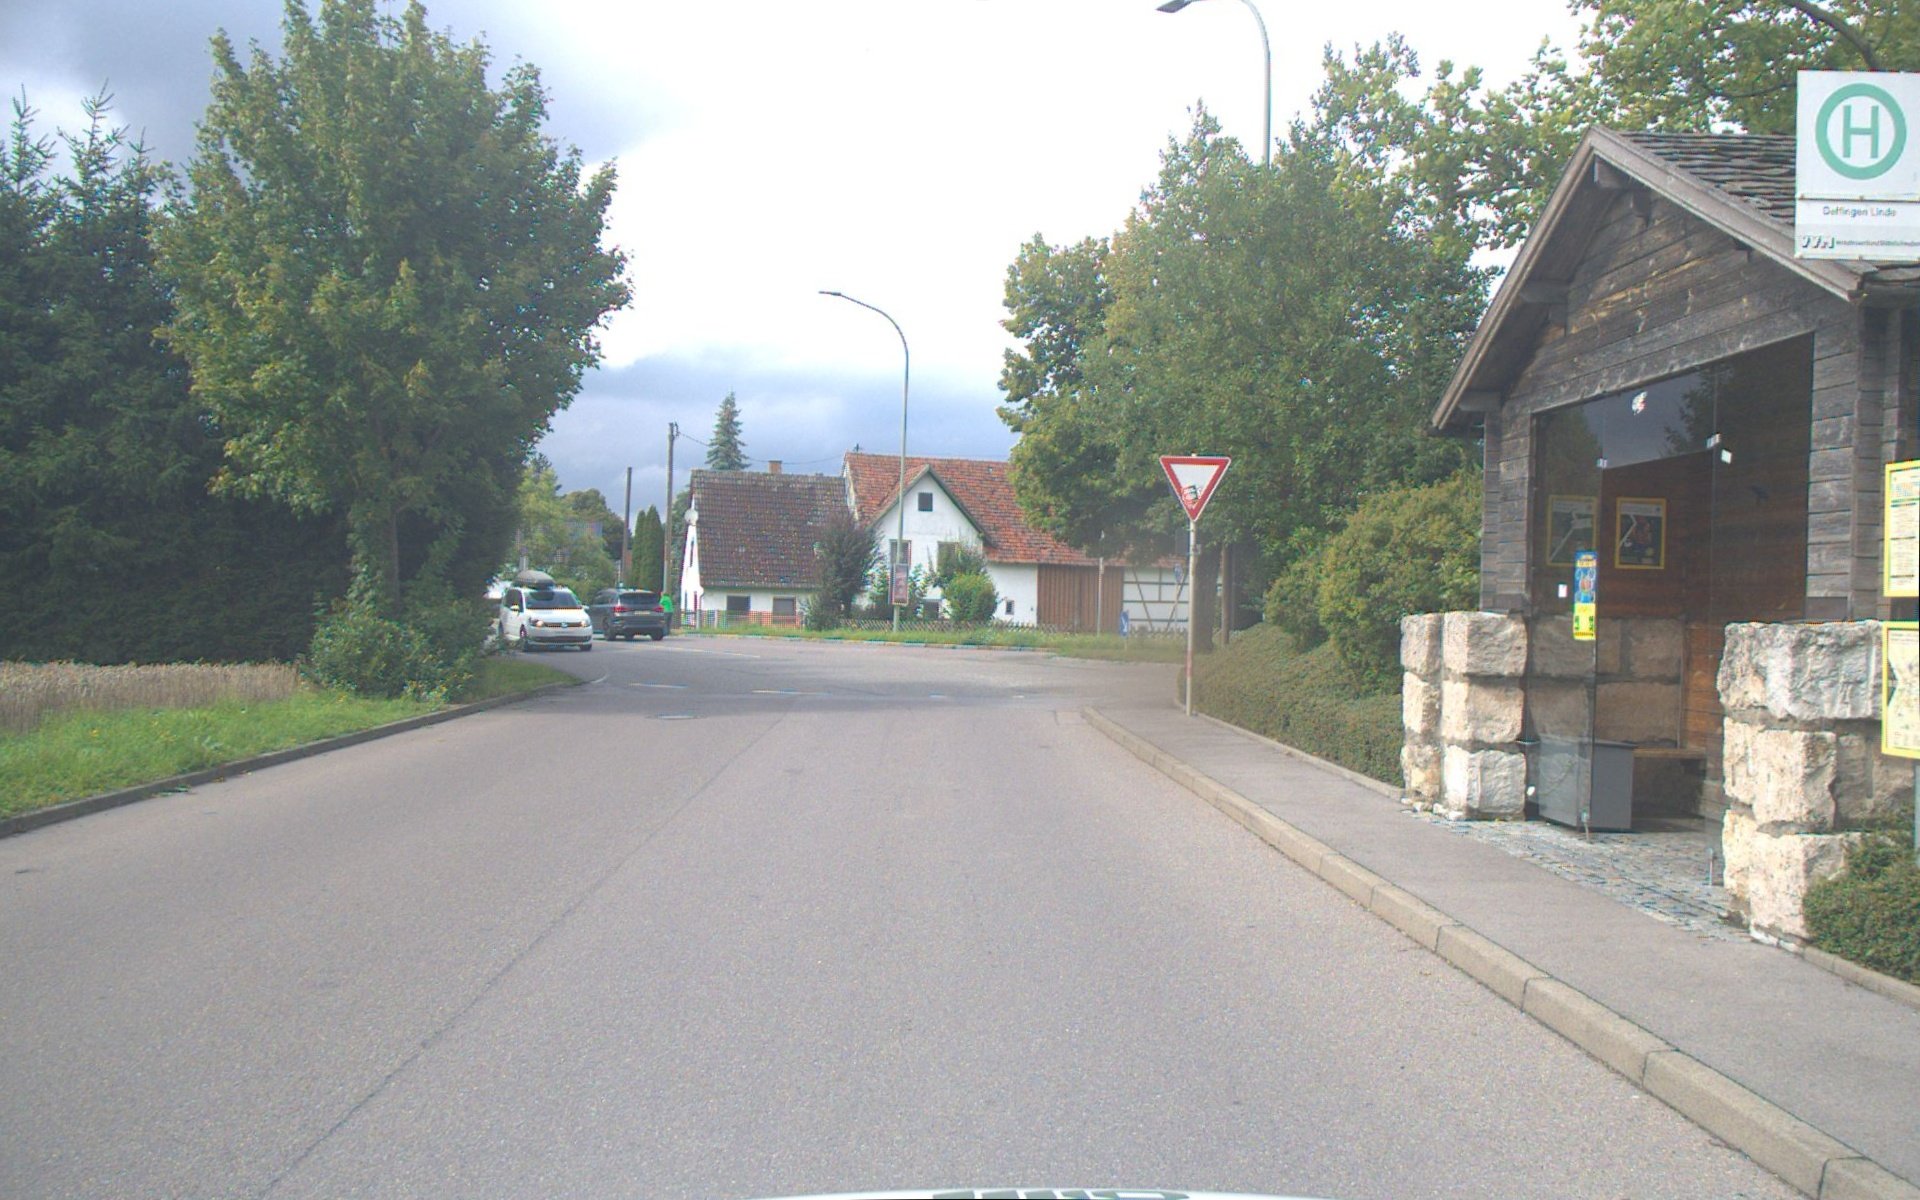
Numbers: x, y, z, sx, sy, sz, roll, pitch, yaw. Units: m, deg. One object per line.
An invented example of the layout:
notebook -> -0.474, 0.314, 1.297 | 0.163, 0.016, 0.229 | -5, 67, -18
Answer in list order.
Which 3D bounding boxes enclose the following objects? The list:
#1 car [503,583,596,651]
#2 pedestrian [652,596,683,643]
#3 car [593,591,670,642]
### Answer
car -> -10.832, 0.439, 43.474 | 1.677, 1.694, 4.001 | 0, 0, -25
pedestrian -> -10.924, 0.720, 61.774 | 0.782, 1.694, 0.704 | 7, -3, -34
car -> -10.312, 0.507, 51.806 | 1.773, 1.488, 3.639 | 1, 0, -21
